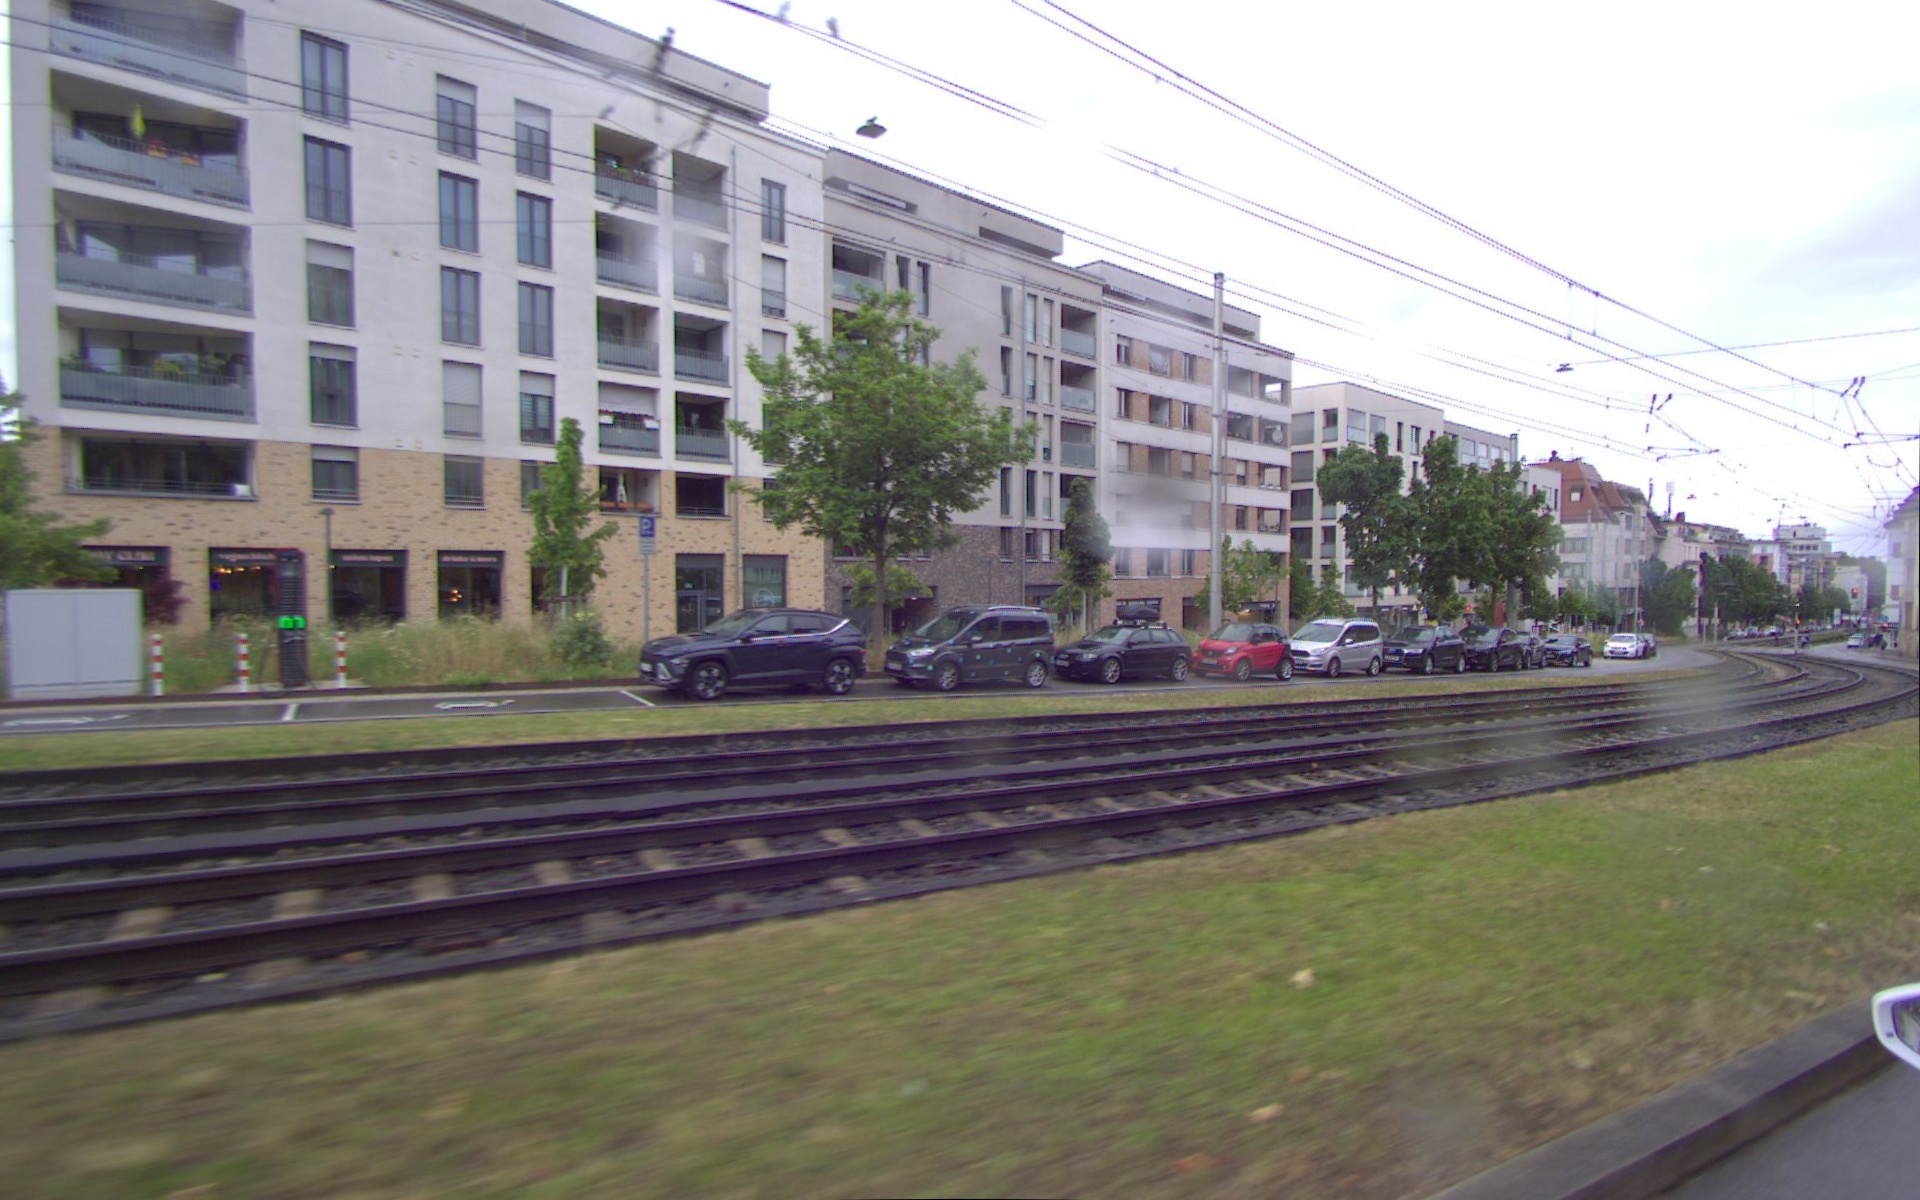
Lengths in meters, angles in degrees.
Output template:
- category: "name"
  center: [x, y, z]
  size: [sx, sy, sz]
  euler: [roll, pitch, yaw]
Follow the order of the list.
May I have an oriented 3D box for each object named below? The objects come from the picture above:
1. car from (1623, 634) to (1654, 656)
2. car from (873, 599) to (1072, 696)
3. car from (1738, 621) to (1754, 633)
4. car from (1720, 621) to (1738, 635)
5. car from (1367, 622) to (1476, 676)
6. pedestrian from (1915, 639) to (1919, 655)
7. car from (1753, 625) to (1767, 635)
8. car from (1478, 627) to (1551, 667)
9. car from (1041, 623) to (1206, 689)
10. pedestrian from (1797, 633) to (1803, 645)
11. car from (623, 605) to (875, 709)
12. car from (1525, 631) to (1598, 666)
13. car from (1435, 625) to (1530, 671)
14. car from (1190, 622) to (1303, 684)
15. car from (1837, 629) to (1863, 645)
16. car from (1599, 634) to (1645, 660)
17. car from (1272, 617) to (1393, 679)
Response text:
- category: "car"
  center: [48.826, 3.221, 72.239]
  size: [1.697, 1.533, 4.303]
  euler: [0, -1, 36]
- category: "car"
  center: [0.338, 1.005, 22.035]
  size: [4.294, 1.884, 1.569]
  euler: [2, 1, -38]
- category: "car"
  center: [136.155, 4.733, 173.982]
  size: [1.970, 2.040, 3.981]
  euler: [1, -1, 40]
- category: "car"
  center: [120.056, 4.329, 156.810]
  size: [1.970, 2.040, 3.981]
  euler: [1, -1, 40]
- category: "car"
  center: [15.946, 1.652, 34.608]
  size: [4.496, 1.666, 1.717]
  euler: [2, 0, -41]
- category: "pedestrian"
  center: [78.370, 3.829, 81.966]
  size: [0.498, 1.333, 0.509]
  euler: [1, 0, 36]
- category: "car"
  center: [145.787, 5.408, 183.066]
  size: [1.970, 1.684, 3.981]
  euler: [1, -1, 40]
- category: "car"
  center: [23.268, 1.948, 42.058]
  size: [1.717, 1.509, 4.234]
  euler: [2, 0, 42]
- category: "car"
  center: [4.203, 1.376, 25.436]
  size: [4.360, 1.467, 1.539]
  euler: [2, 0, -38]
- category: "pedestrian"
  center: [91.571, 4.266, 109.501]
  size: [0.503, 1.333, 0.504]
  euler: [1, 0, 38]
- category: "car"
  center: [-3.929, 1.019, 18.969]
  size: [4.177, 1.626, 1.978]
  euler: [2, 2, -38]
- category: "car"
  center: [27.572, 2.188, 46.021]
  size: [1.945, 1.450, 4.174]
  euler: [2, 0, 44]
- category: "car"
  center: [20.005, 1.795, 38.366]
  size: [4.666, 1.604, 1.785]
  euler: [2, 0, -43]
- category: "car"
  center: [7.980, 1.447, 27.941]
  size: [2.901, 1.551, 1.460]
  euler: [1, 1, -34]
- category: "car"
  center: [106.364, 4.425, 120.004]
  size: [3.973, 1.795, 1.974]
  euler: [2, -1, -44]
- category: "car"
  center: [40.128, 2.825, 60.857]
  size: [1.746, 1.498, 3.714]
  euler: [0, -2, 43]
- category: "car"
  center: [11.582, 1.448, 31.114]
  size: [4.223, 1.771, 1.649]
  euler: [2, -1, -41]
